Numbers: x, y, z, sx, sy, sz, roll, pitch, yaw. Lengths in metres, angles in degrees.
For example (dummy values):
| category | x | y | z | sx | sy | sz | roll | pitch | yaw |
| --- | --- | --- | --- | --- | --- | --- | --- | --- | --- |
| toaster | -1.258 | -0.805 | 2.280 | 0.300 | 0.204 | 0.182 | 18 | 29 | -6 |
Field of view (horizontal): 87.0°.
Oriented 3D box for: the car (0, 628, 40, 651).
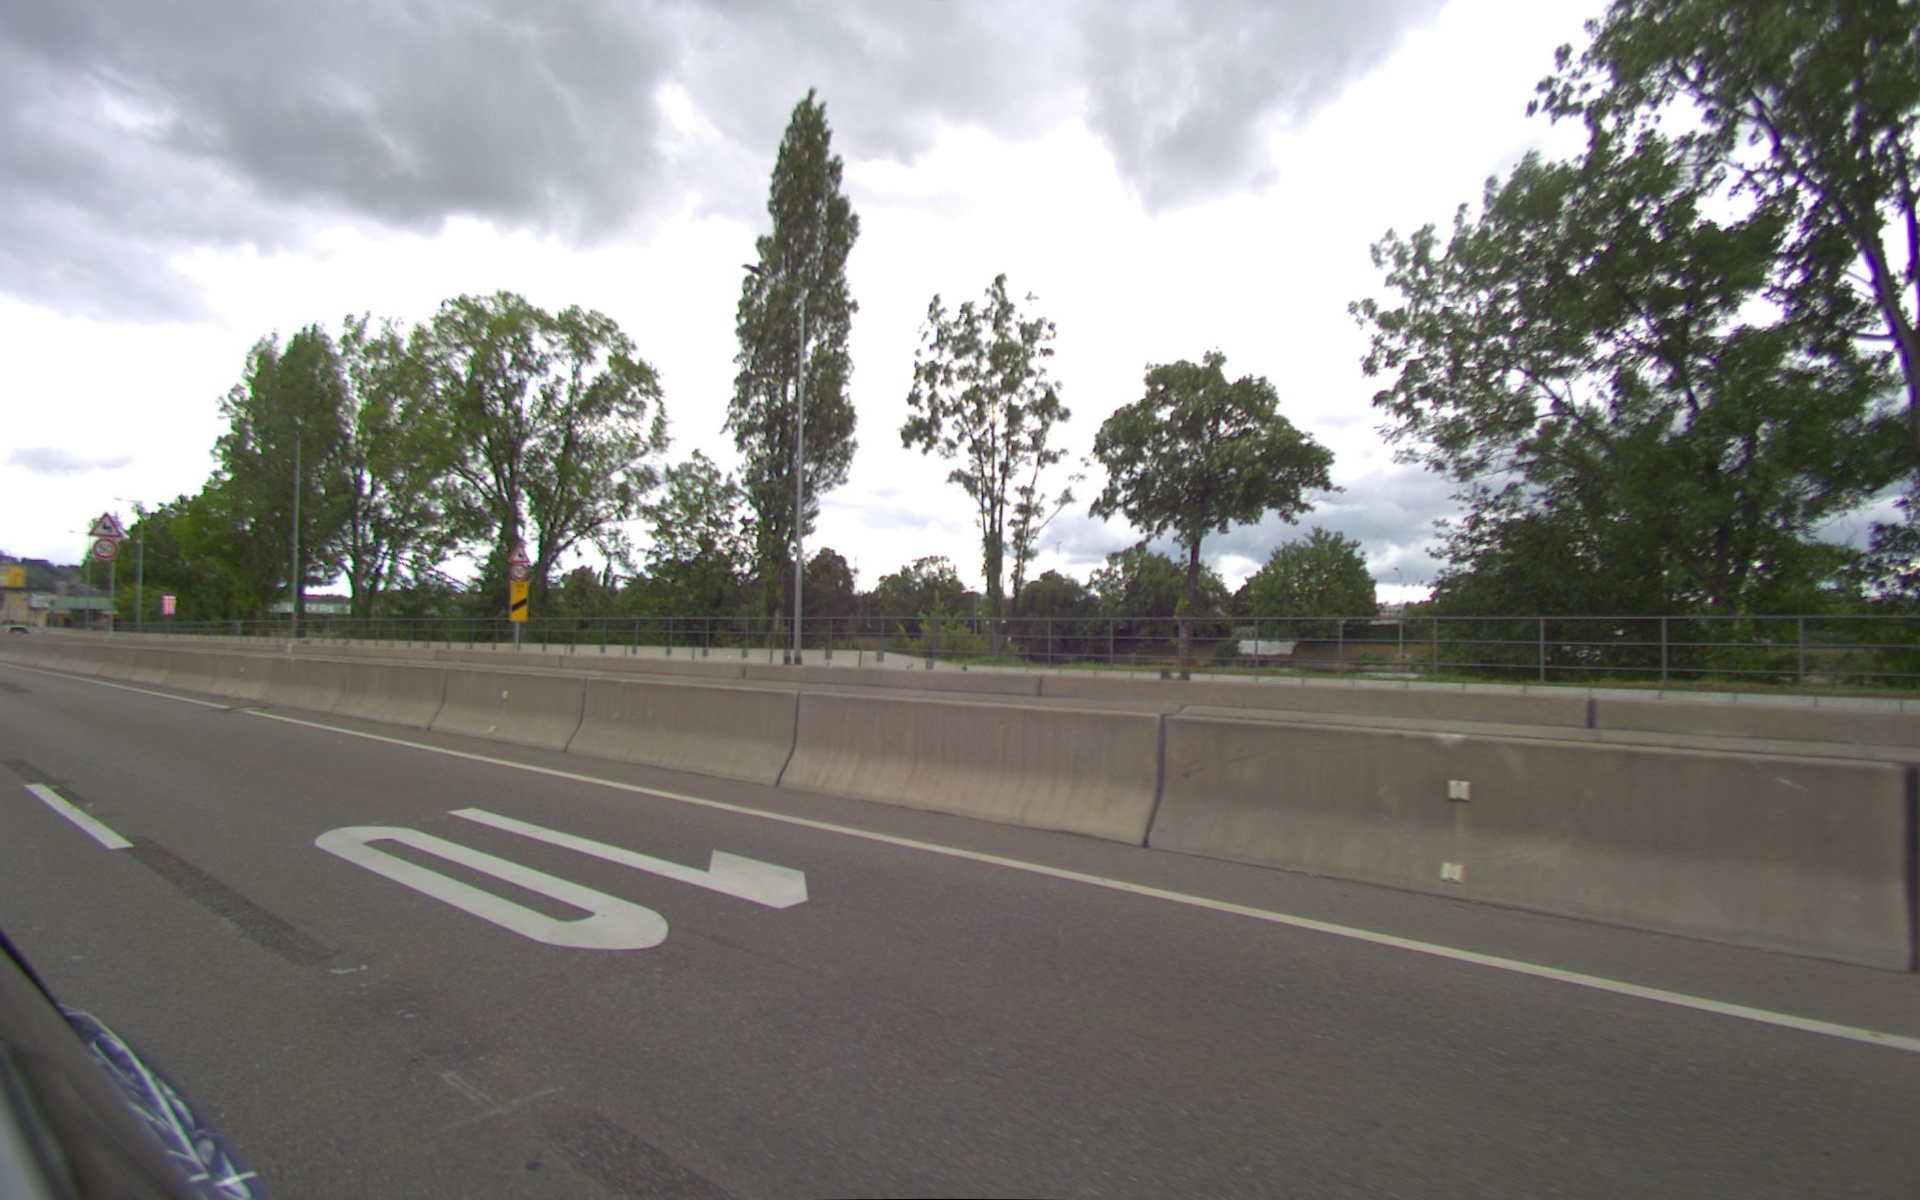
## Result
| category | x | y | z | sx | sy | sz | roll | pitch | yaw |
| --- | --- | --- | --- | --- | --- | --- | --- | --- | --- |
| car | -87.372 | 3.660 | 94.031 | 5.000 | 1.940 | 2.304 | -2 | 0 | 42 |
